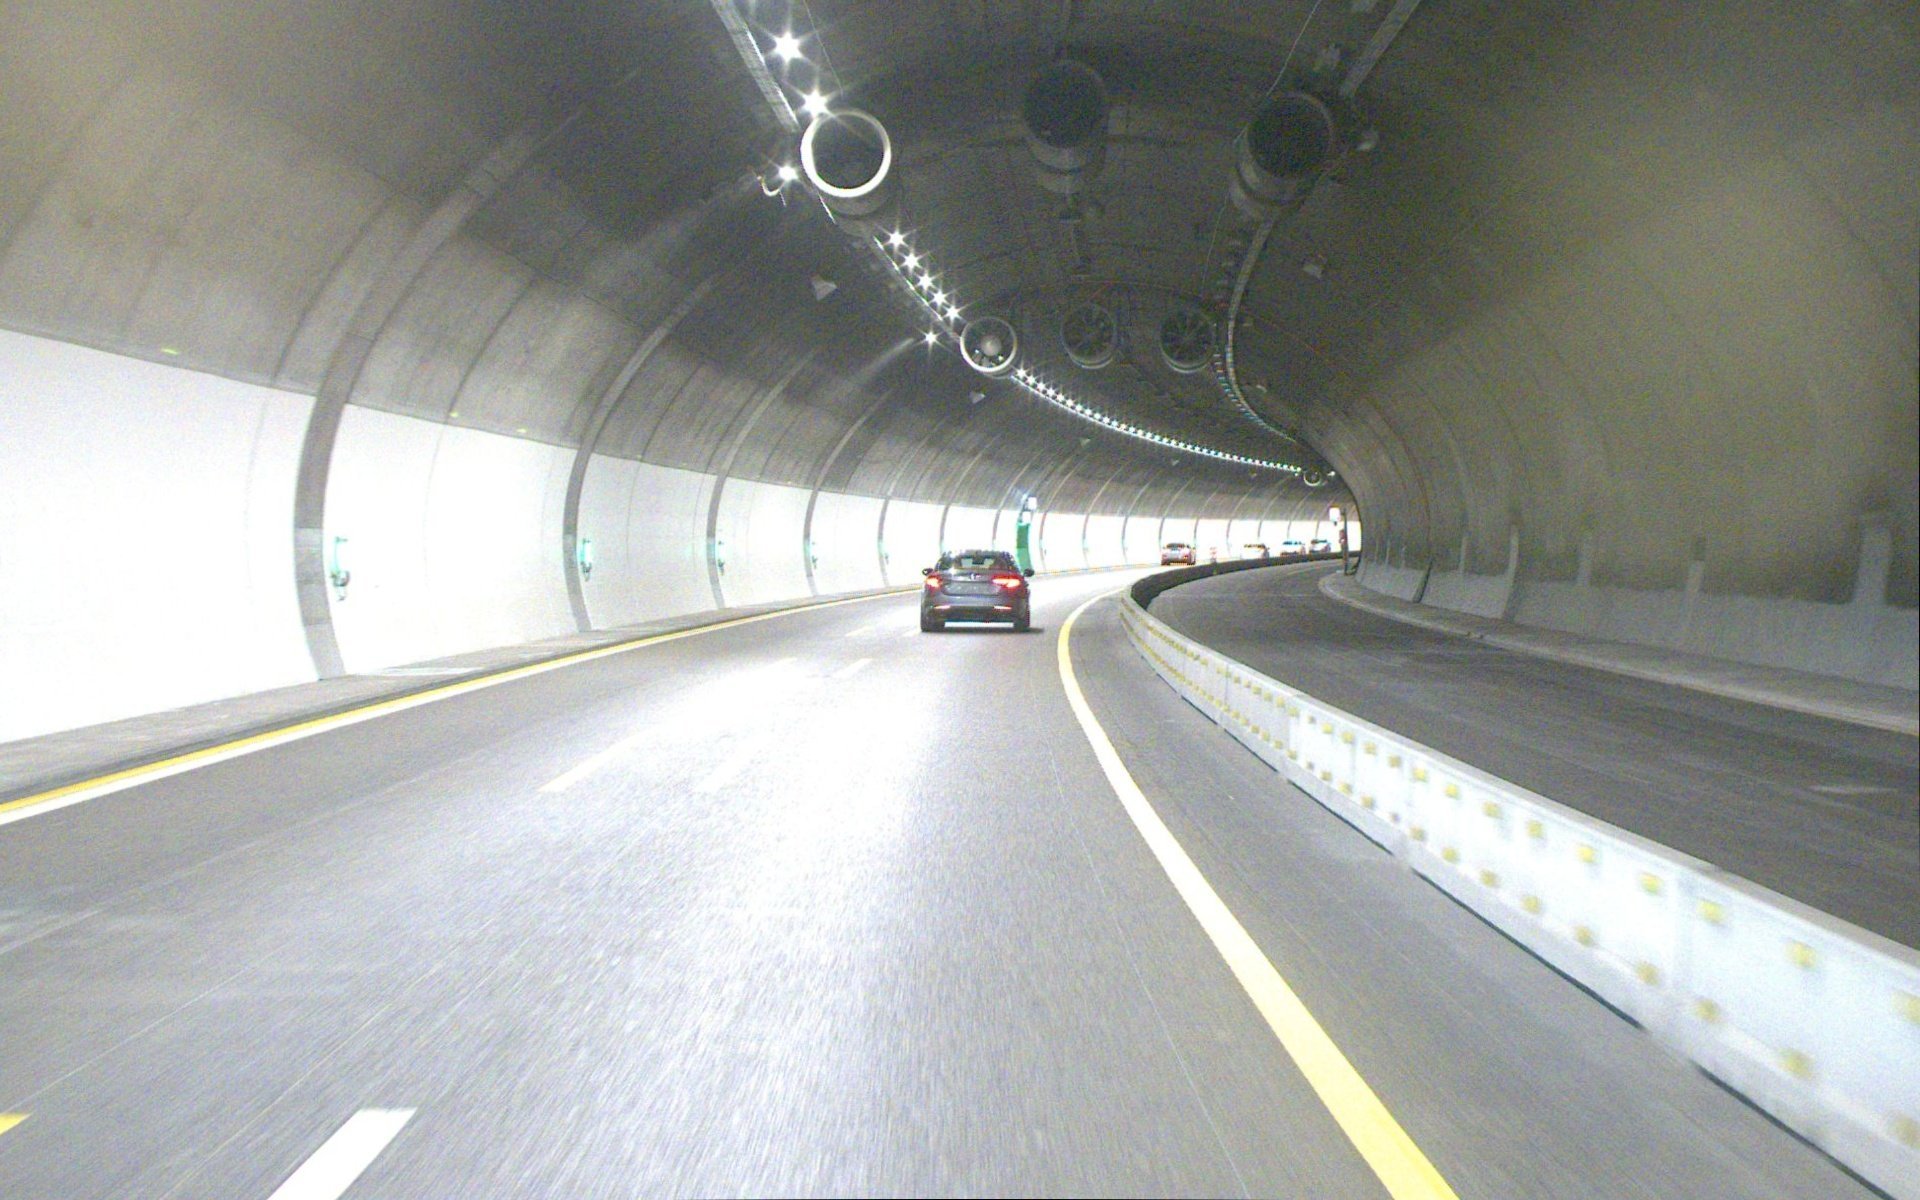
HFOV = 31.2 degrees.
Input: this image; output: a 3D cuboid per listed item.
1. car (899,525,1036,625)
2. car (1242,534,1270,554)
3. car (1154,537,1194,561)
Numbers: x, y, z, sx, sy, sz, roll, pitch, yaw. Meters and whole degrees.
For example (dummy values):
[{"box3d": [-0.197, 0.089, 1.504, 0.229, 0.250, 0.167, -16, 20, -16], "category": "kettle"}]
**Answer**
[{"box3d": [0.175, -0.478, 60.690, 2.141, 1.700, 4.000, 0, 1, 4], "category": "car"}, {"box3d": [19.957, -3.809, 231.510, 1.596, 1.328, 3.749, 0, 1, 10], "category": "car"}, {"box3d": [13.440, -3.191, 215.435, 2.165, 1.481, 3.999, 0, 1, 8], "category": "car"}]
